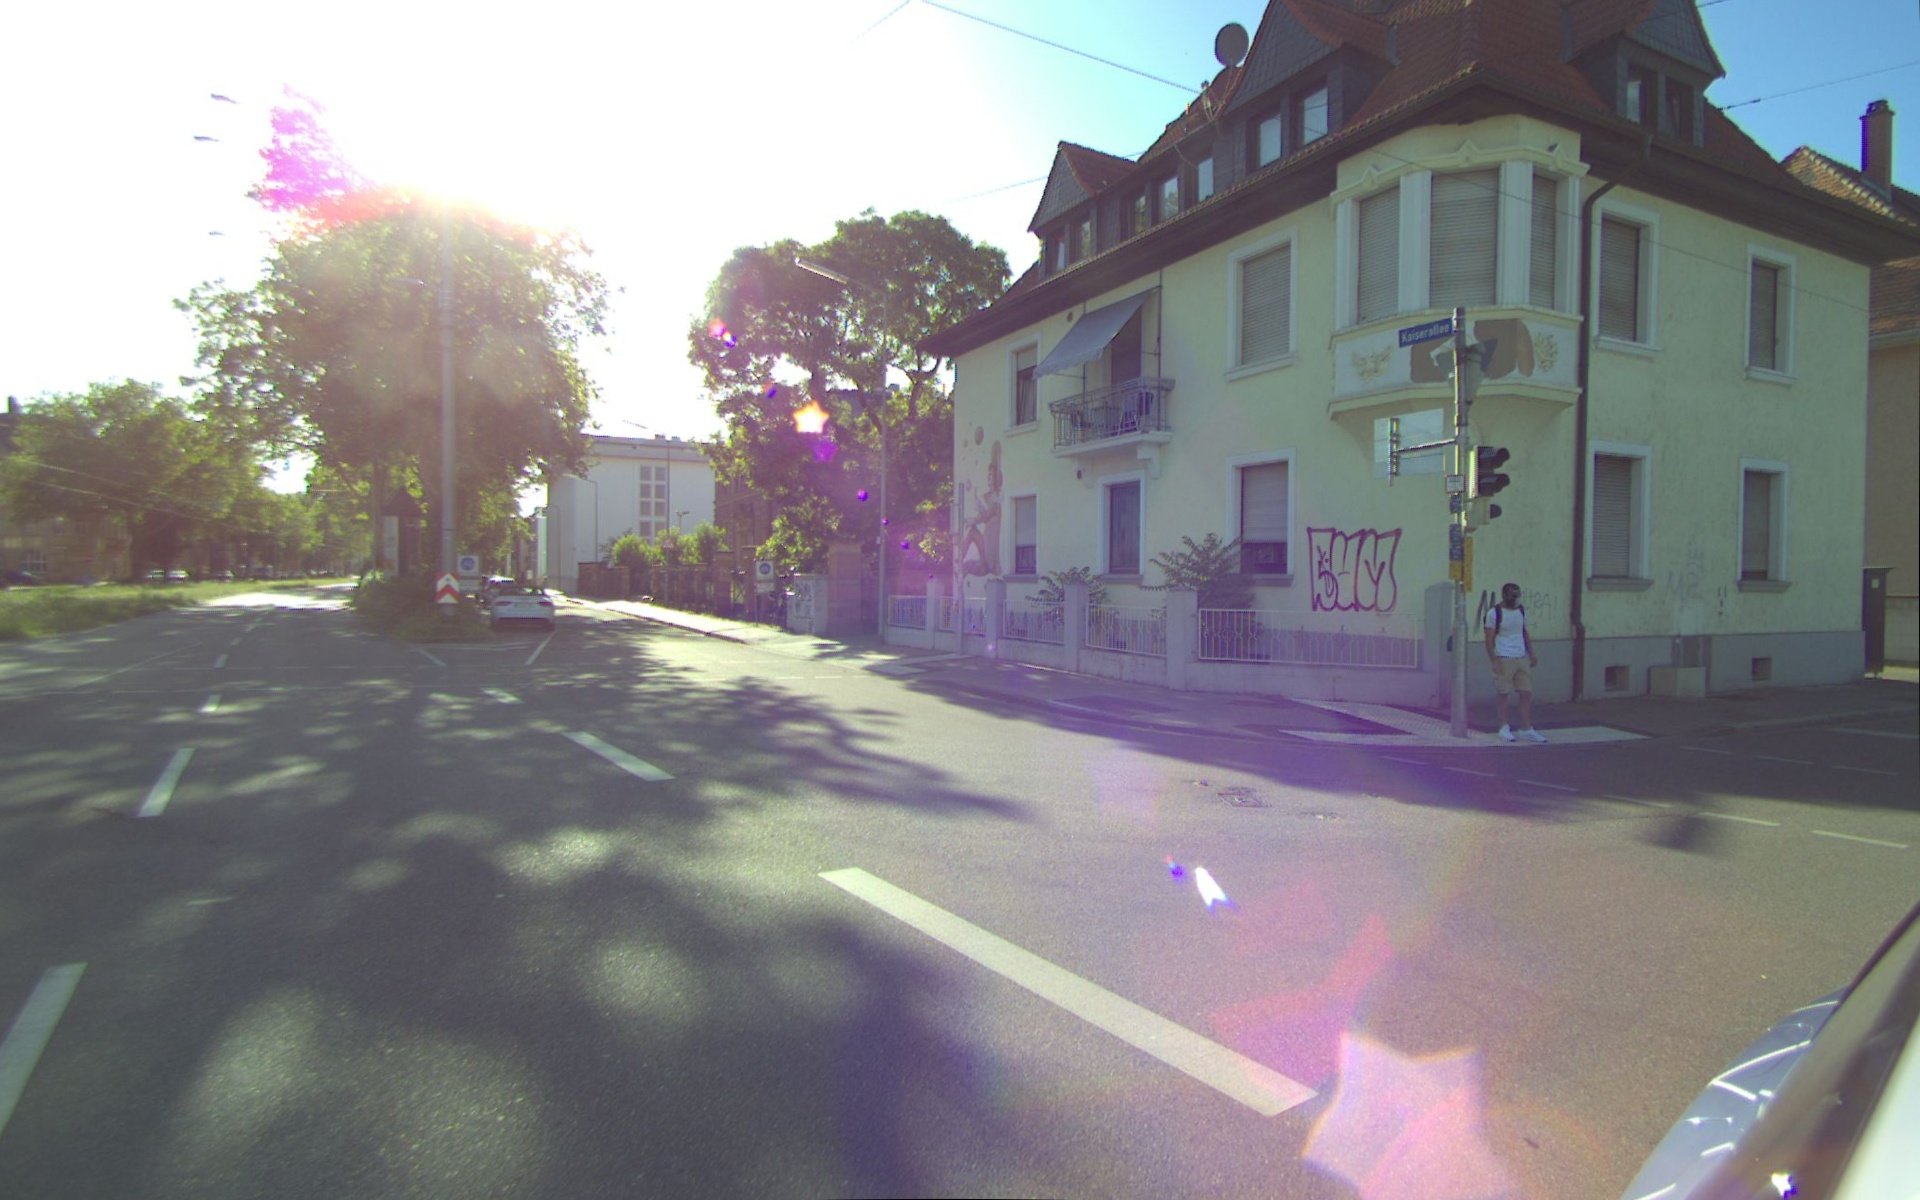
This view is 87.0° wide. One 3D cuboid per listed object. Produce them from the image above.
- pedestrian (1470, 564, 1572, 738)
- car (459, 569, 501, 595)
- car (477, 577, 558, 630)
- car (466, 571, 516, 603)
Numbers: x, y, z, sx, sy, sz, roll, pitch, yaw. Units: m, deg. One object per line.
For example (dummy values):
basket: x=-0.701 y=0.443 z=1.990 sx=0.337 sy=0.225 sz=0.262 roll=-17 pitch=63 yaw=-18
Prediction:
pedestrian: x=6.020 y=0.521 z=10.904 sx=0.663 sy=1.761 sz=0.688 roll=2 pitch=4 yaw=9
car: x=-27.889 y=-1.070 z=58.745 sx=1.880 sy=1.471 sz=4.508 roll=0 pitch=2 yaw=-29
car: x=-13.914 y=0.056 z=31.678 sx=1.880 sy=1.471 sz=4.508 roll=0 pitch=2 yaw=-29
car: x=-23.351 y=-0.682 z=50.312 sx=1.880 sy=1.471 sz=4.508 roll=0 pitch=2 yaw=-29
